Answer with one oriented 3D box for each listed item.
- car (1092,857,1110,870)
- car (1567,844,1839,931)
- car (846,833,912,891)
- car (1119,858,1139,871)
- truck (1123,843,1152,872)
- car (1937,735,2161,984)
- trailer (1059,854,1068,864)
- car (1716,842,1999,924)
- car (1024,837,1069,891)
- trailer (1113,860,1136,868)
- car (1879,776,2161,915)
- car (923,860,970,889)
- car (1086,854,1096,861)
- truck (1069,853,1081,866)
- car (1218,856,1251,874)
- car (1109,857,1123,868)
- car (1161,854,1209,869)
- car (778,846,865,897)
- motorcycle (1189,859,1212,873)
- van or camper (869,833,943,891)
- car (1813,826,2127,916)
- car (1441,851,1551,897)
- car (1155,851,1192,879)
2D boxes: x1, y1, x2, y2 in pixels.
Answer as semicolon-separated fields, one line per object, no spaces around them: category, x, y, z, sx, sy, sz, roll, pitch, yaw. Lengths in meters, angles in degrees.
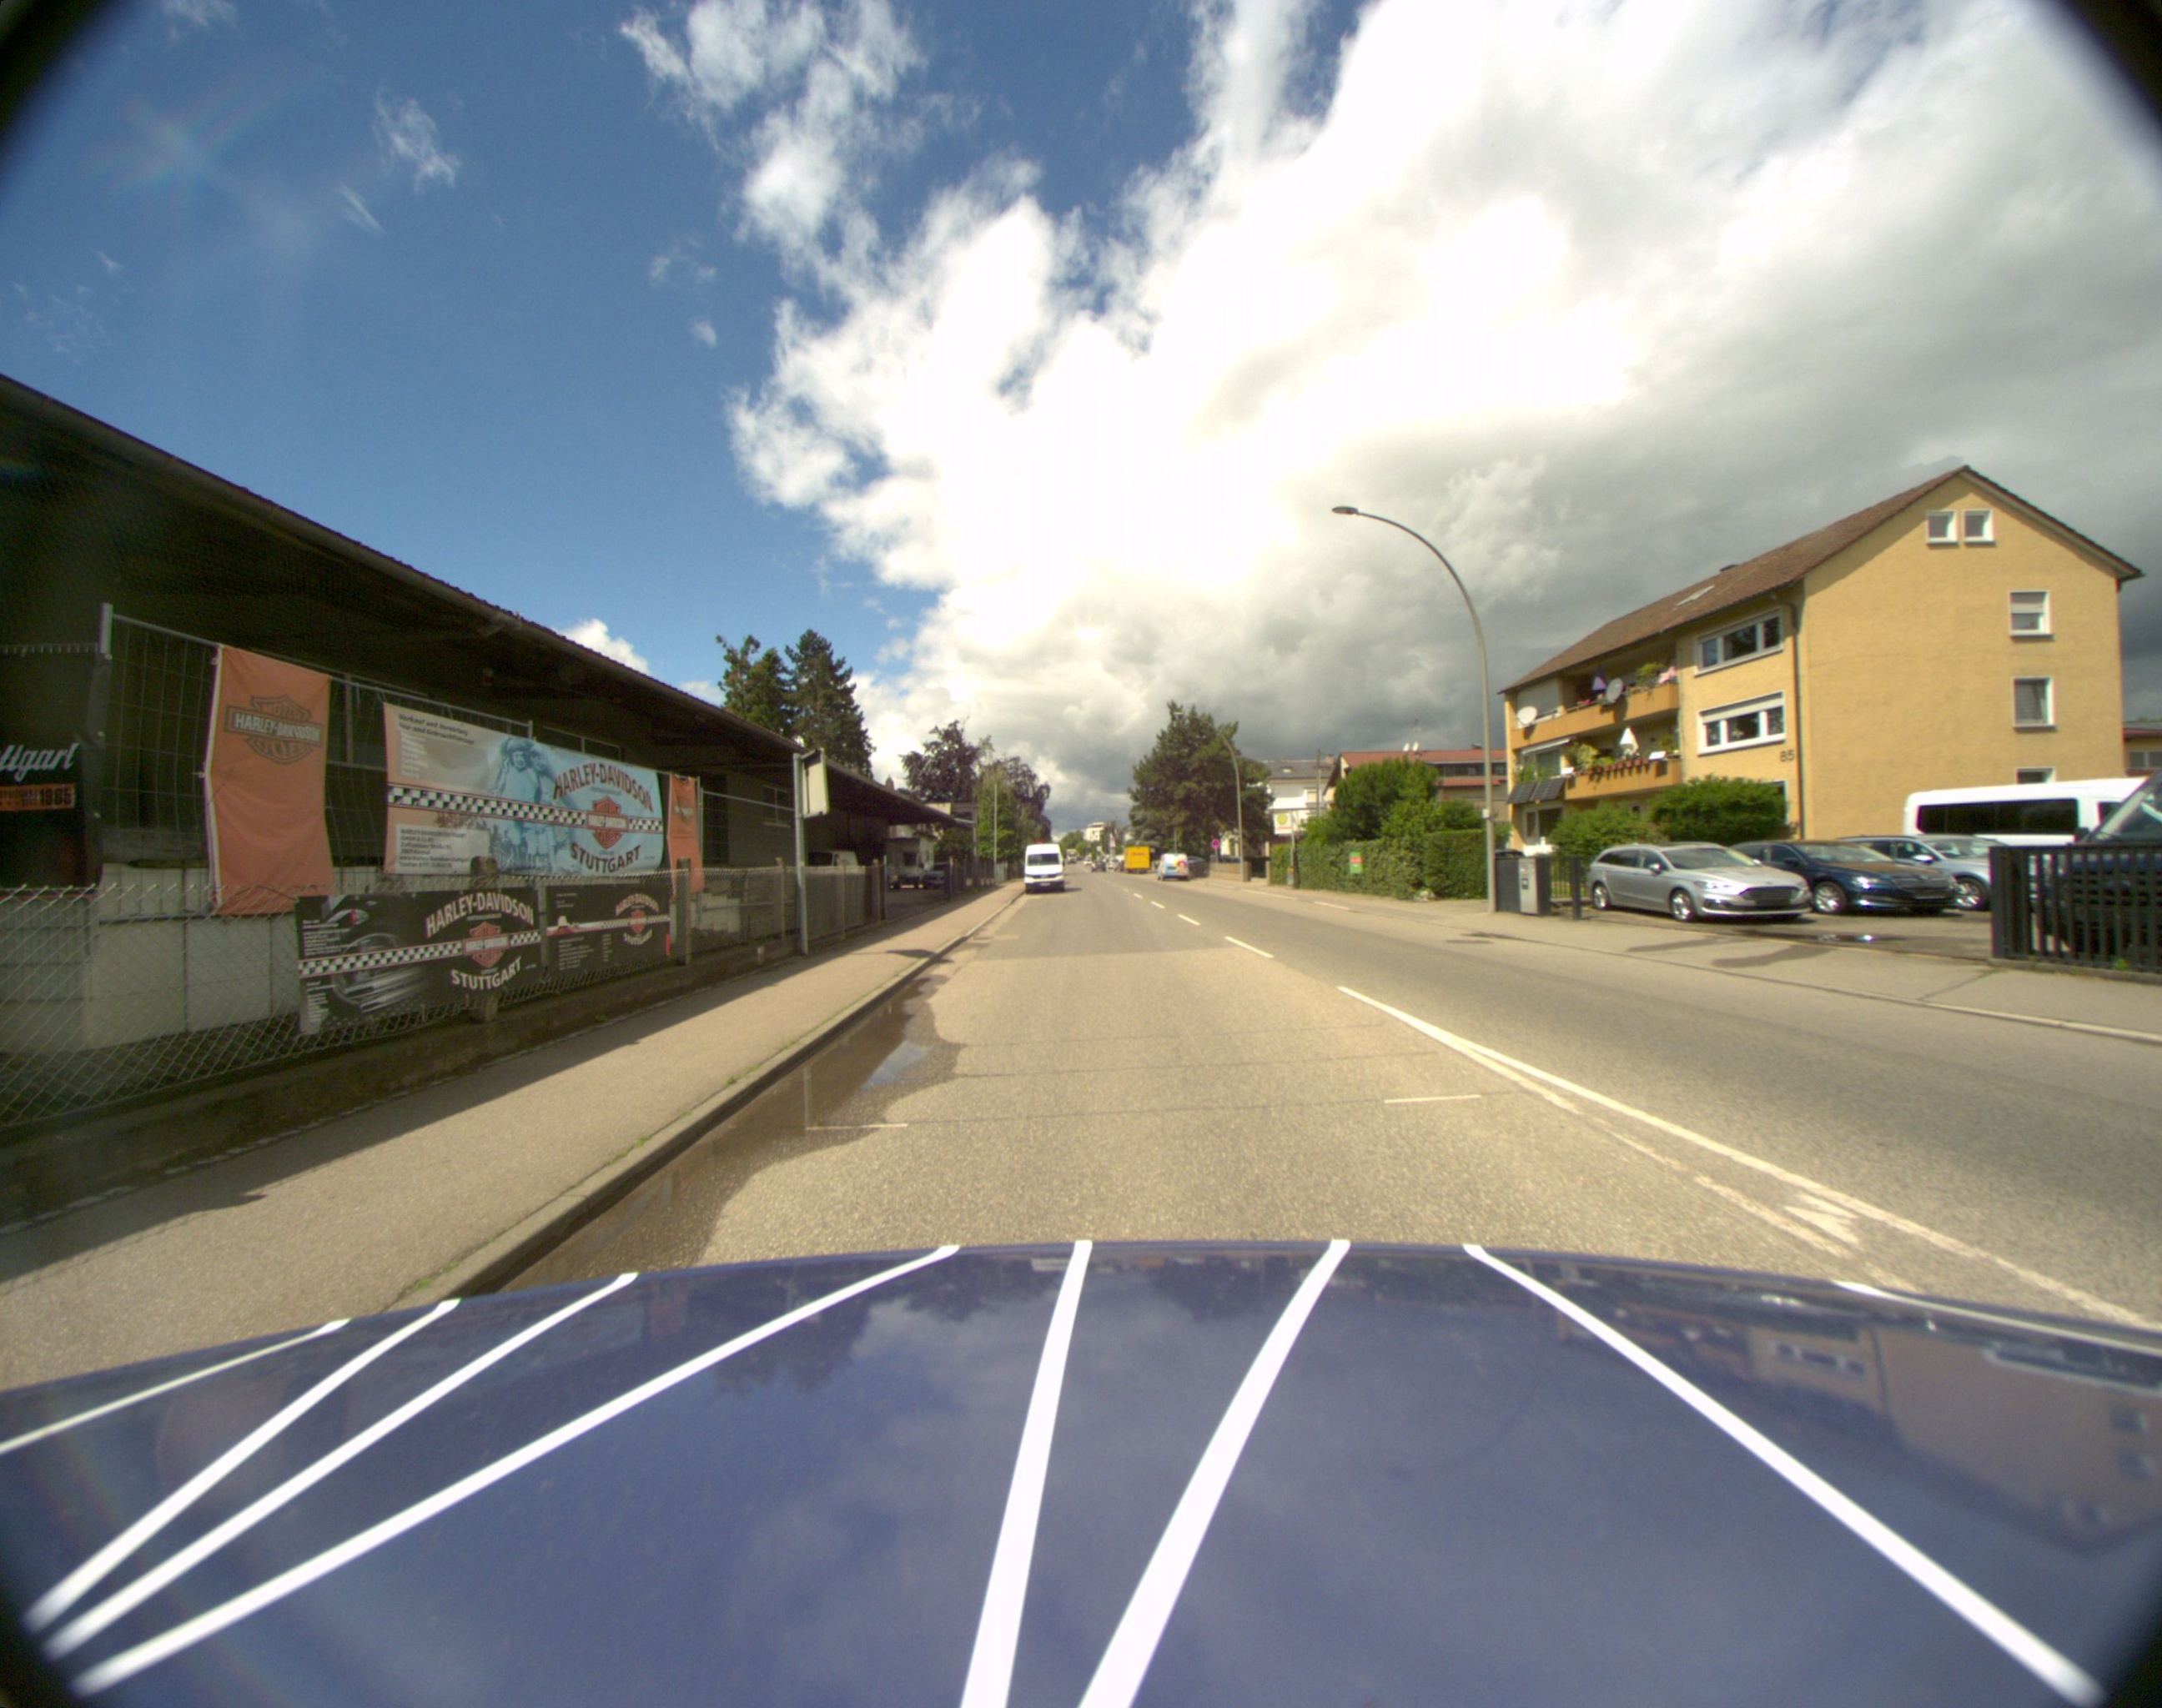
car;2.464;1.168;93.717;1.906;1.509;4.318;-1;0;-2
car;12.394;0.582;15.760;1.997;1.477;5.344;-1;0;10
car;-10.064;0.425;38.270;2.023;2.665;5.497;-1;-1;-3
car;5.713;1.237;90.672;1.999;1.444;4.811;2;0;-1
truck;6.093;0.421;82.971;2.330;2.985;7.817;1;0;-2
car;13.790;0.000;8.345;6.053;2.481;2.477;-1;0;-1
trailer;-4.019;1.070;174.671;2.045;2.214;5.078;-1;0;0
car;15.312;0.515;15.393;1.848;1.418;4.334;-1;0;10
car;-1.829;0.507;41.152;2.221;2.673;6.656;-1;0;-2
trailer;5.478;1.242;96.982;2.324;0.985;7.458;0;0;-1
car;20.519;-0.139;15.372;2.418;2.481;6.136;0;0;2
car;-7.393;1.100;42.182;1.769;1.480;4.926;-2;-1;-1
car;2.152;0.776;168.581;1.987;1.412;3.999;-1;0;-3
truck;-1.620;1.519;206.756;2.881;3.290;8.606;-3;0;-1
car;13.499;0.939;67.082;1.772;1.534;4.086;-1;0;-5
car;5.305;1.282;114.613;1.809;1.666;4.127;1;0;-1
car;11.702;0.792;85.411;5.021;1.543;1.972;-1;0;-3
car;-10.579;0.694;31.405;1.999;1.898;4.853;-1;-1;-1
motorcycle;10.387;1.066;65.884;1.872;1.158;0.825;-1;0;15
van or camper;-10.048;0.425;44.294;2.889;3.043;6.912;-1;0;-2
car;17.682;0.307;15.518;1.848;1.568;4.334;-1;0;10
car;14.181;0.644;26.259;1.848;1.418;4.333;-1;0;7
car;6.422;0.767;53.074;1.838;1.842;4.896;2;-1;-1
